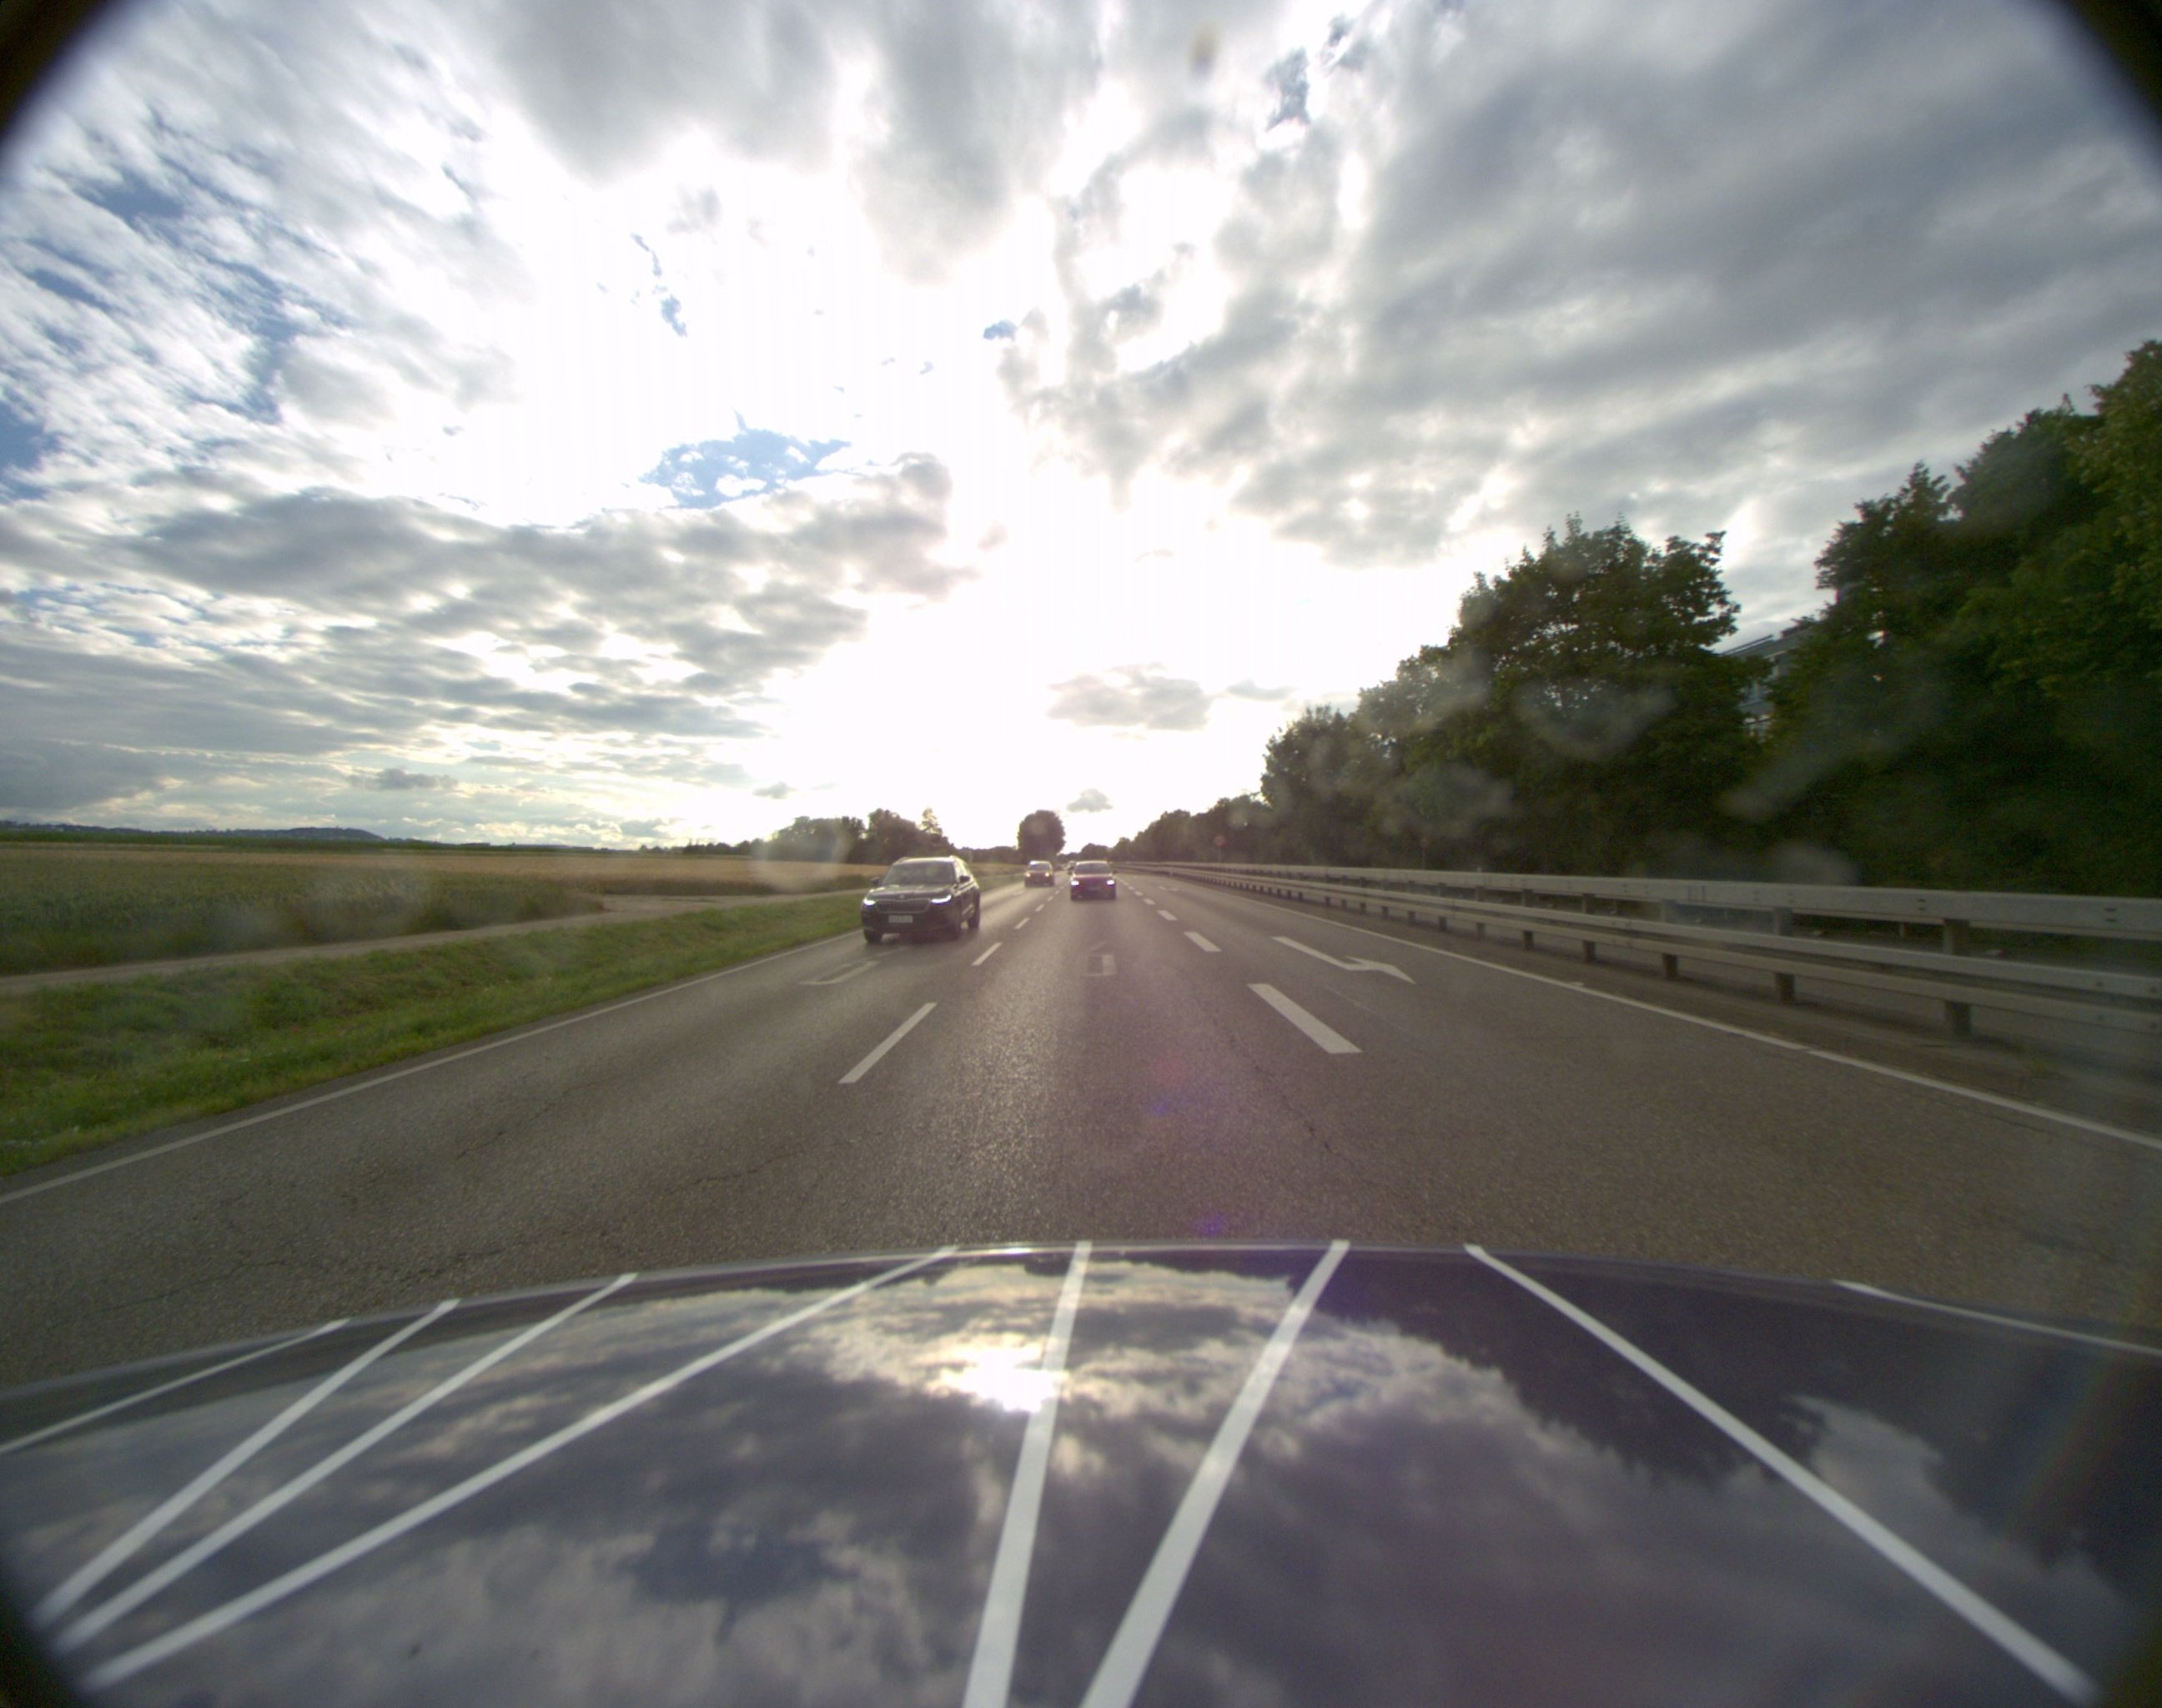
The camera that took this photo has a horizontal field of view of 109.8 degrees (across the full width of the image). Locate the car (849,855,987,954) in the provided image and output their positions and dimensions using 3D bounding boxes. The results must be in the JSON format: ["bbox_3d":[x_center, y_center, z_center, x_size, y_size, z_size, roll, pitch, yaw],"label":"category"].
[{"bbox_3d":[-3.301,0.934,16.320,1.841,1.698,4.556,-2,1,1],"label":"car"}]

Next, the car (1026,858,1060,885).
[{"bbox_3d":[-2.290,1.046,46.532,1.712,1.448,3.908,-2,1,1],"label":"car"}]

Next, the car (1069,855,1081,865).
[{"bbox_3d":[-0.956,1.005,123.049,1.799,1.448,4.032,-2,0,1],"label":"car"}]

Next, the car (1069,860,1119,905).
[{"bbox_3d":[0.506,1.017,28.799,1.712,1.448,4.061,-2,1,1],"label":"car"}]

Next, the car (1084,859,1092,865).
[{"bbox_3d":[1.817,2.188,199.465,1.712,1.448,4.060,-2,1,-4],"label":"car"}]
